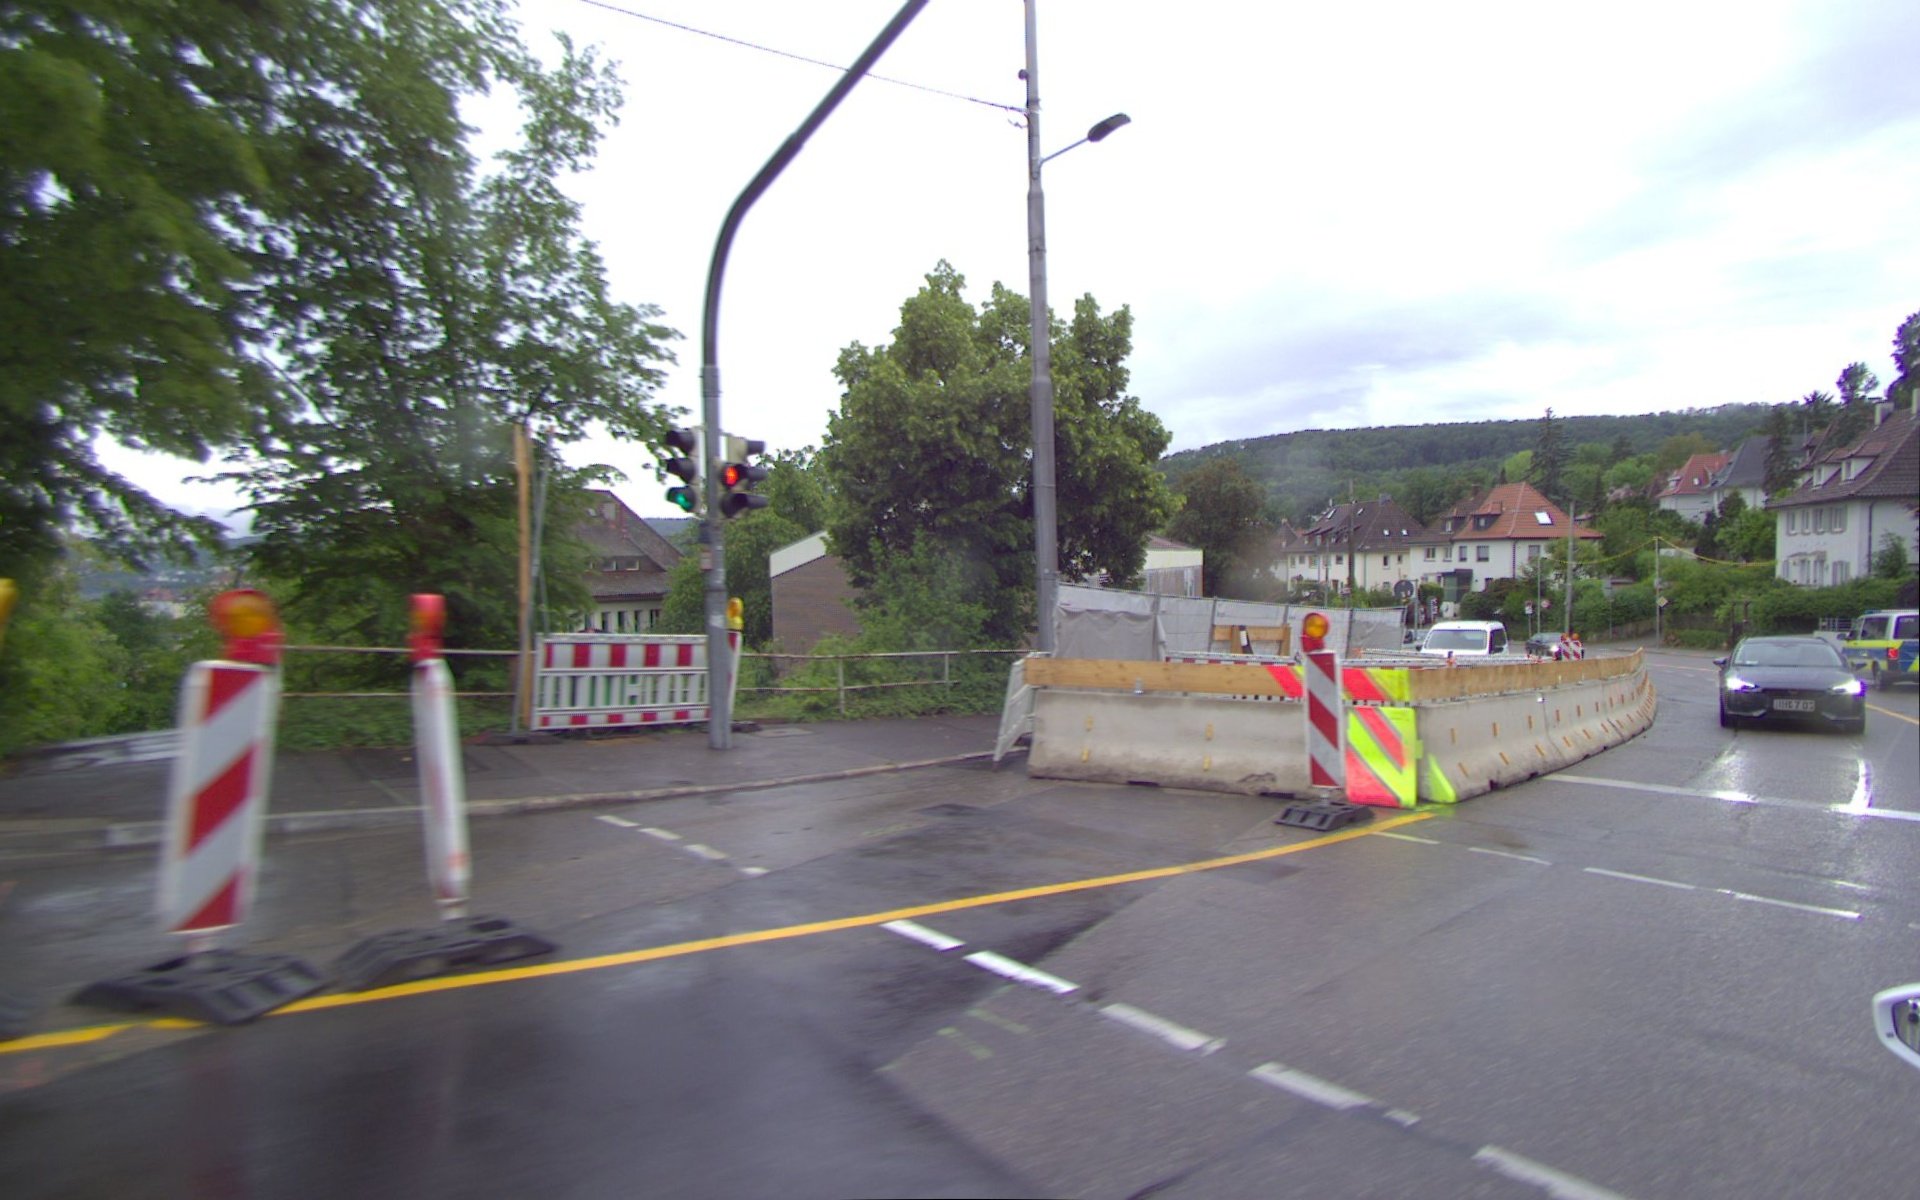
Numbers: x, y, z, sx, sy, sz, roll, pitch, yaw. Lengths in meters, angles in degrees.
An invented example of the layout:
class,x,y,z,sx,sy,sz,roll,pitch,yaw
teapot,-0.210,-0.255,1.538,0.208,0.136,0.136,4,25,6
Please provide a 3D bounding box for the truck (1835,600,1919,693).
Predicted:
class,x,y,z,sx,sy,sz,roll,pitch,yaw
truck,24.204,1.118,25.806,1.966,2.041,4.720,-1,1,33

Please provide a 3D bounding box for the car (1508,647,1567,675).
class,x,y,z,sx,sy,sz,roll,pitch,yaw
car,29.489,3.118,51.425,1.620,1.328,4.266,-3,-4,17

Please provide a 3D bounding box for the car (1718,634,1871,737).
class,x,y,z,sx,sy,sz,roll,pitch,yaw
car,13.860,1.314,16.862,1.761,1.421,4.348,0,-1,38

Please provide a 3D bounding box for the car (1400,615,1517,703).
class,x,y,z,sx,sy,sz,roll,pitch,yaw
car,13.255,1.516,26.562,1.967,2.040,4.791,2,-1,36
